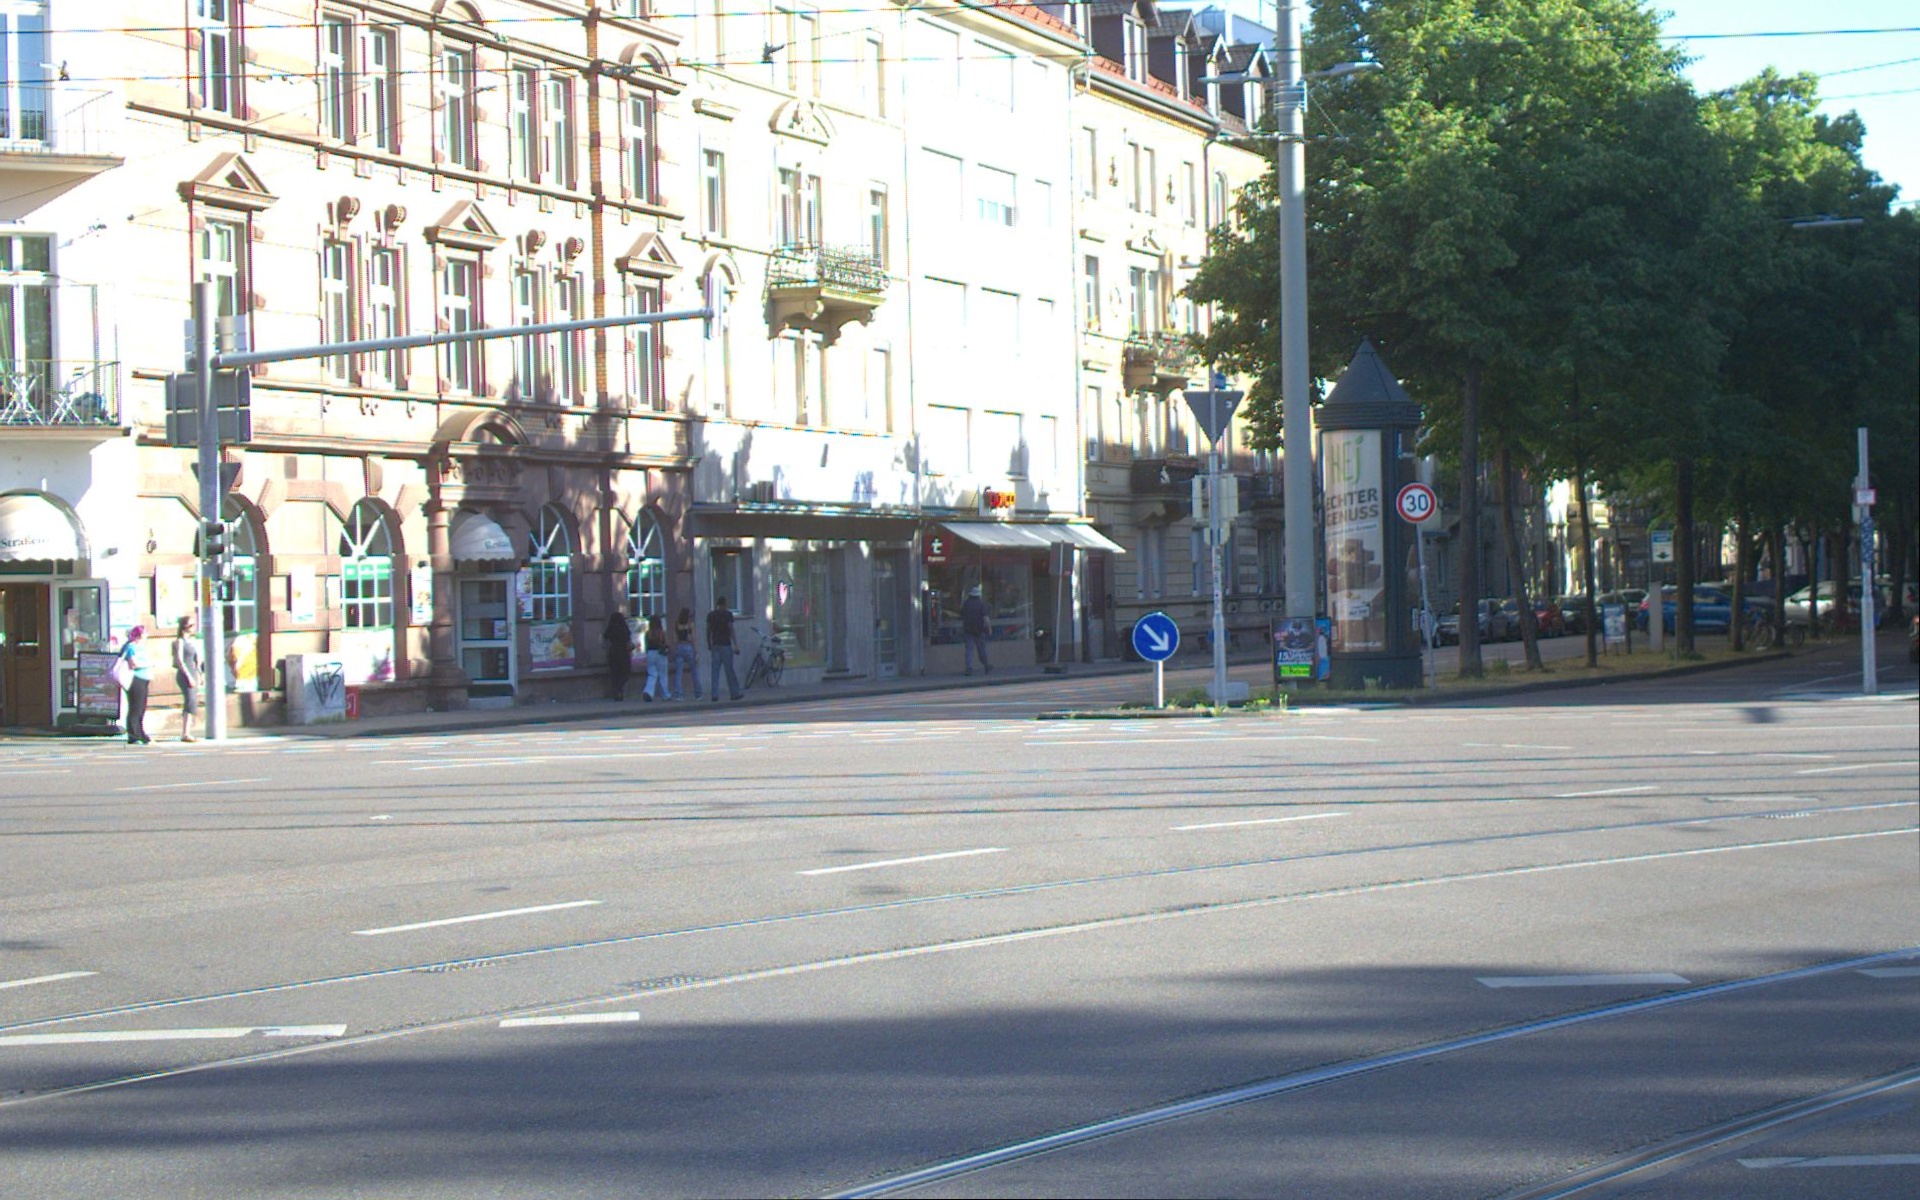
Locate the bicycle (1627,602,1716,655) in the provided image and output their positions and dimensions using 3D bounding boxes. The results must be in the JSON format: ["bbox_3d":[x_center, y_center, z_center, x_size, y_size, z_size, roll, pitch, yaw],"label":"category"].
[{"bbox_3d":[14.469,0.577,69.934,0.581,1.063,1.949,-2,1,-31],"label":"bicycle"}]

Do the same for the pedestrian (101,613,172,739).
[{"bbox_3d":[-10.826,0.997,45.206,0.676,1.636,0.578,-1,0,18],"label":"pedestrian"}]

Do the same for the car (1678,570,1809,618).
[{"bbox_3d":[27.495,-0.206,120.617,3.994,1.540,1.996,-1,0,33],"label":"car"}]

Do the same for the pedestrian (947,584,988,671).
[{"bbox_3d":[0.164,0.611,76.014,0.682,1.902,0.632,-1,0,21],"label":"pedestrian"}]

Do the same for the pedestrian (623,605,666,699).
[{"bbox_3d":[-5.627,0.926,61.275,0.551,1.636,0.537,-1,0,18],"label":"pedestrian"}]

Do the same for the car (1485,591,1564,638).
[{"bbox_3d":[19.528,0.486,118.746,1.995,1.492,4.030,-1,1,19],"label":"car"}]

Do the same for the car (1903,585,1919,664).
[{"bbox_3d":[20.136,0.457,69.067,1.995,1.492,4.030,-1,1,19],"label":"car"}]

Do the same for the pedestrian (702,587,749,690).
[{"bbox_3d":[-4.215,0.689,61.827,0.580,1.830,0.632,-1,0,21],"label":"pedestrian"}]

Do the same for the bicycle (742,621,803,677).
[{"bbox_3d":[-3.725,0.970,68.396,0.495,1.063,1.768,-1,0,21],"label":"bicycle"}]

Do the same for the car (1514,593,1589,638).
[{"bbox_3d":[21.240,0.530,123.301,1.995,1.492,4.030,-1,1,19],"label":"car"}]

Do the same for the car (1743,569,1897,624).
[{"bbox_3d":[25.726,-0.091,102.891,3.995,1.540,1.996,-1,0,36],"label":"car"}]

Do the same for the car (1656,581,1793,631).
[{"bbox_3d":[25.493,0.205,114.649,3.994,1.540,1.996,-1,0,33],"label":"car"}]

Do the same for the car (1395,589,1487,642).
[{"bbox_3d":[14.678,0.455,104.658,1.995,1.492,4.030,-1,1,19],"label":"car"}]

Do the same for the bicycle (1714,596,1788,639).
[{"bbox_3d":[19.789,0.438,86.002,0.581,1.063,1.949,-2,1,-31],"label":"bicycle"}]

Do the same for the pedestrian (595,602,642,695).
[{"bbox_3d":[-6.104,0.873,61.438,0.627,1.636,0.537,-1,0,17],"label":"pedestrian"}]

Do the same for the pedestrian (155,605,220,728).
[{"bbox_3d":[-10.481,0.900,46.665,0.631,1.636,0.552,-1,0,18],"label":"pedestrian"}]

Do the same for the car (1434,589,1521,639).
[{"bbox_3d":[16.542,0.428,109.743,1.995,1.492,4.030,-1,1,19],"label":"car"}]

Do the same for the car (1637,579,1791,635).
[{"bbox_3d":[22.399,0.210,102.184,3.994,1.540,1.996,-1,0,33],"label":"car"}]

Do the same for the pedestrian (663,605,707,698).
[{"bbox_3d":[-4.929,0.920,61.593,0.551,1.636,0.632,-1,0,18],"label":"pedestrian"}]
